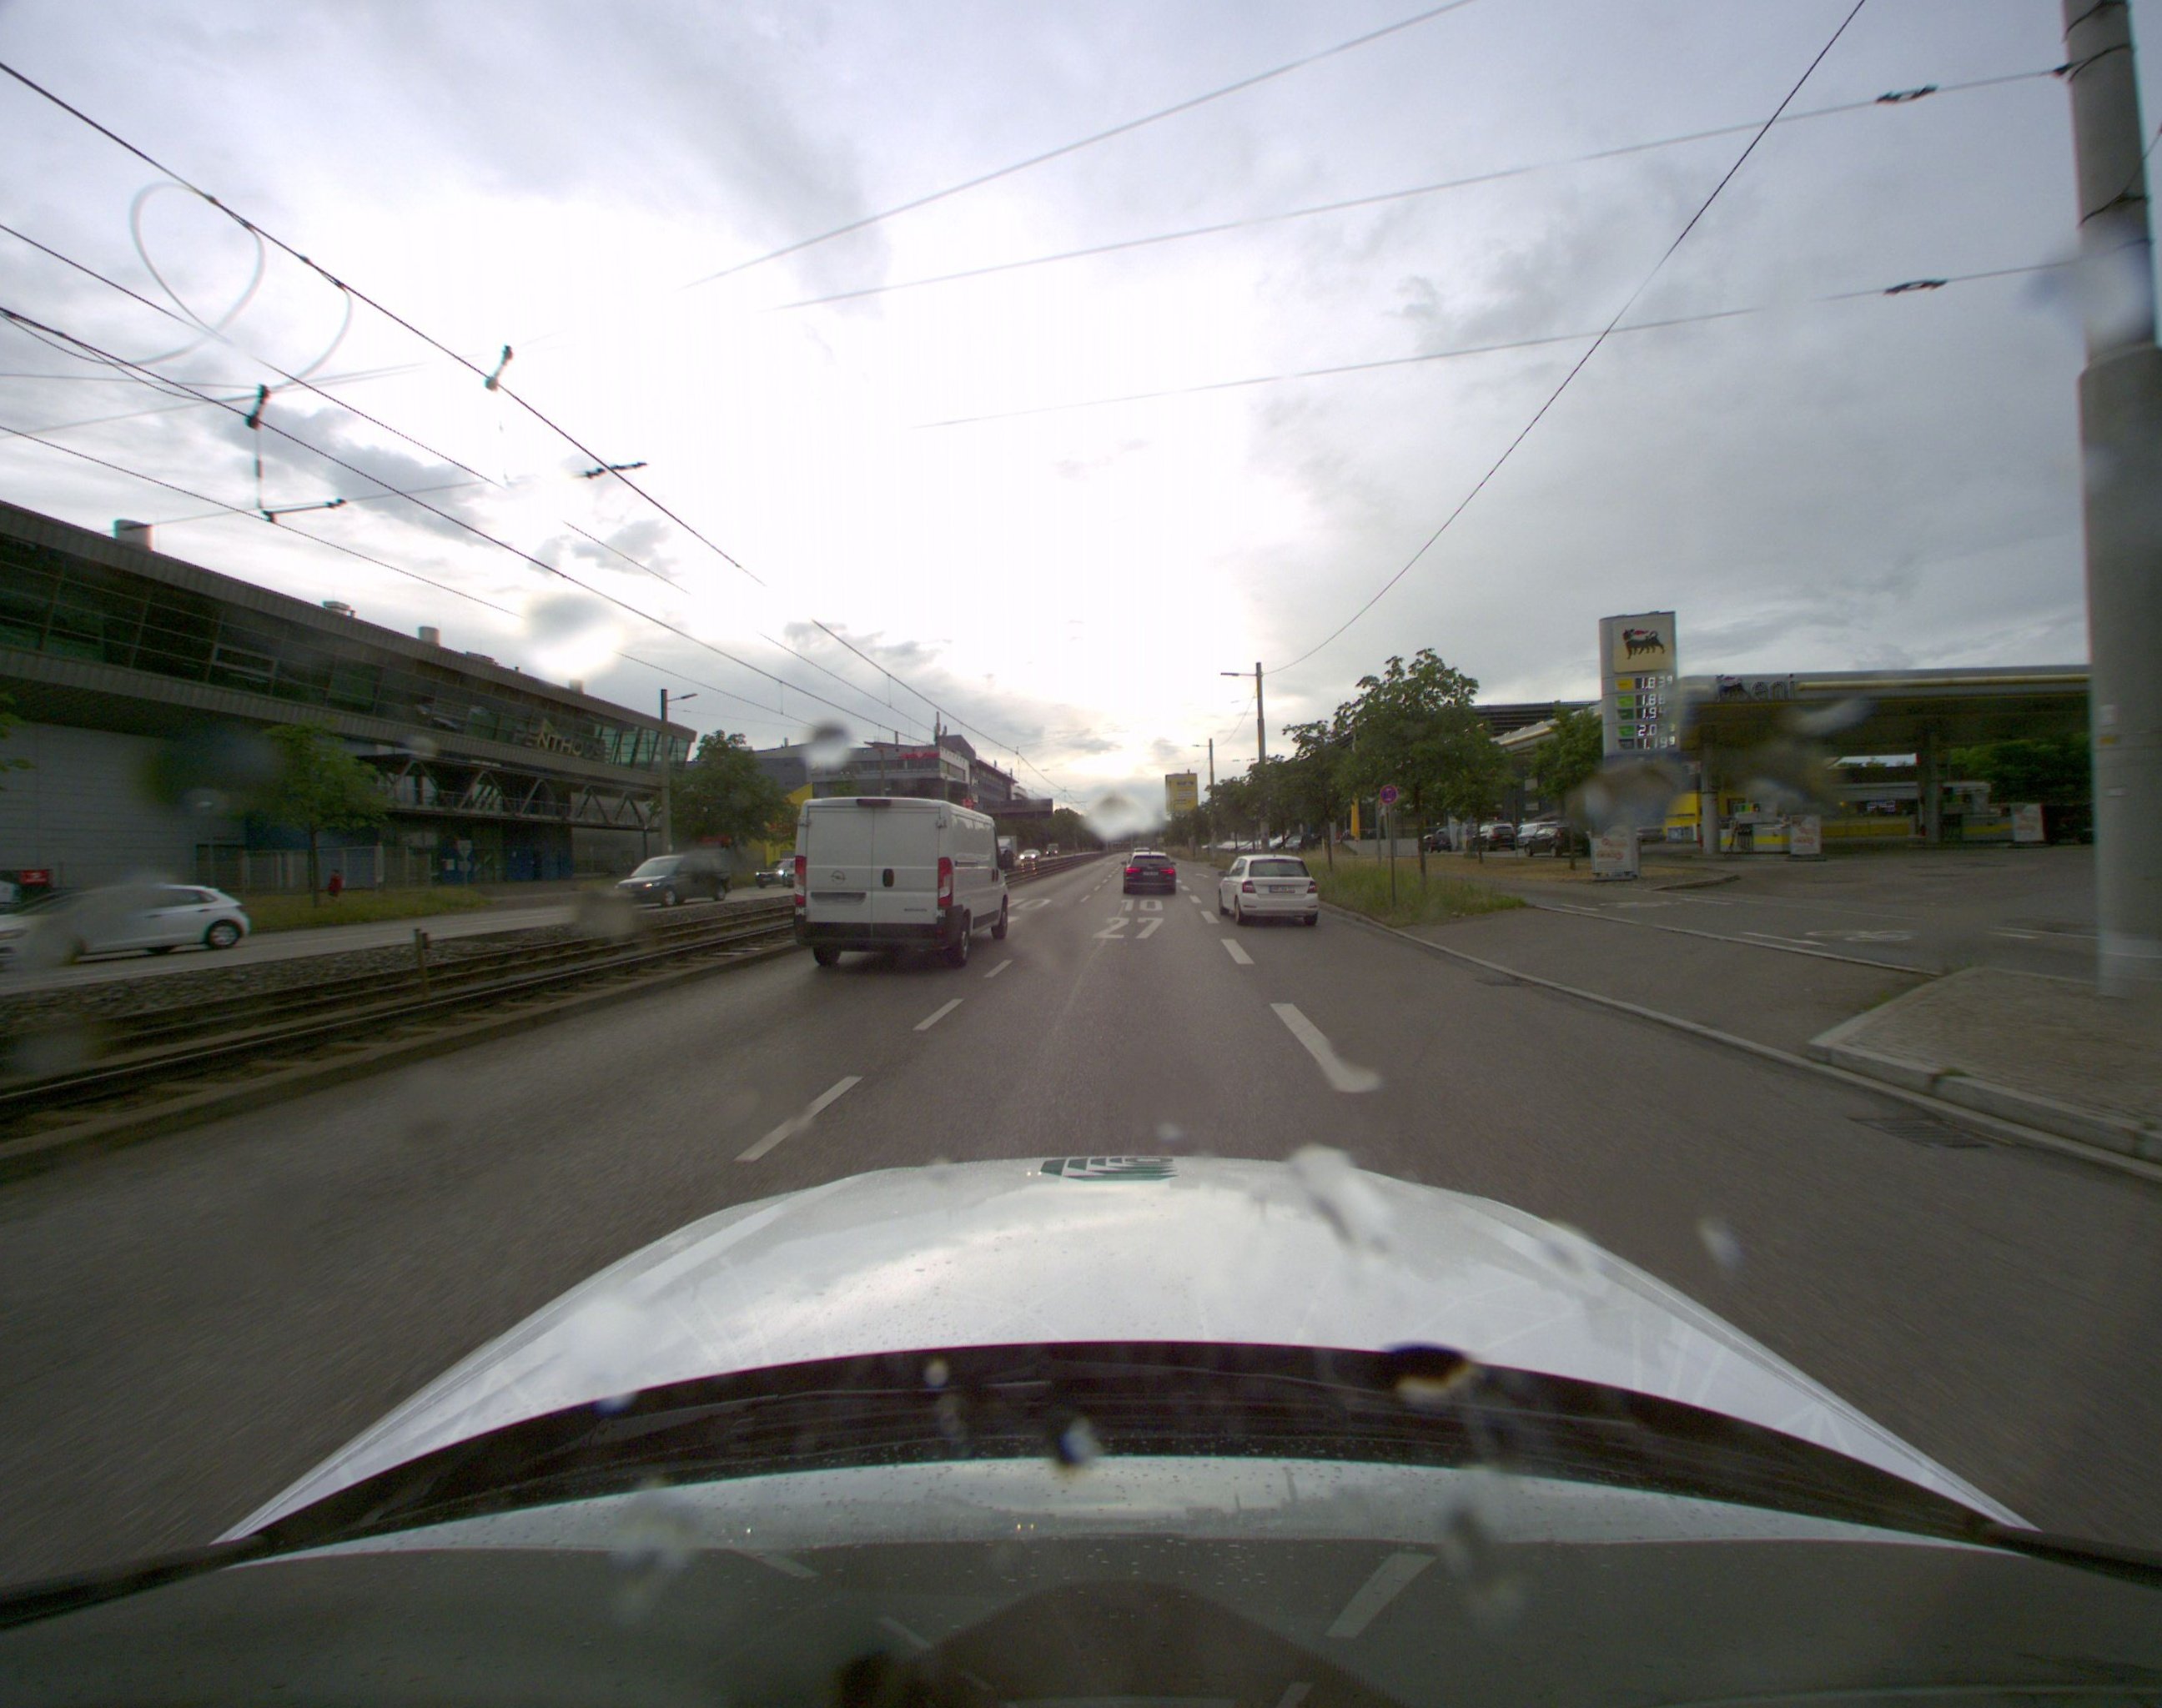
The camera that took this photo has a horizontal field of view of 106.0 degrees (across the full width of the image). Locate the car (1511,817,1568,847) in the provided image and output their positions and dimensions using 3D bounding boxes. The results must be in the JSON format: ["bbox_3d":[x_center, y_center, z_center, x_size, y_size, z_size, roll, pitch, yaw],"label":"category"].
[{"bbox_3d":[33.077,-1.545,58.889,1.985,2.013,4.004,-2,0,3],"label":"car"}]

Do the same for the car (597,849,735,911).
[{"bbox_3d":[-14.278,0.825,28.411,1.790,1.928,4.814,-2,0,8],"label":"car"}]

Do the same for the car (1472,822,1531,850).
[{"bbox_3d":[27.611,-1.162,53.667,1.985,1.728,4.004,-2,0,3],"label":"car"}]

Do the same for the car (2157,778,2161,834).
[{"bbox_3d":[41.729,-1.814,29.201,1.684,2.114,3.553,0,0,0],"label":"car"}]

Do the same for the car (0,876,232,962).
[{"bbox_3d":[-25.414,1.587,20.937,1.790,1.819,4.743,-2,0,8],"label":"car"}]

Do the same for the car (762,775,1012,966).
[{"bbox_3d":[-2.562,0.171,12.310,2.436,2.294,4.907,0,1,2],"label":"car"}]

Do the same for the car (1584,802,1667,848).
[{"bbox_3d":[24.879,-1.287,37.349,1.671,2.013,3.547,0,0,5],"label":"car"}]

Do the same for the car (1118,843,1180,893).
[{"bbox_3d":[2.435,0.466,28.616,1.983,1.637,4.007,0,0,6],"label":"car"}]

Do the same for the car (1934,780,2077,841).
[{"bbox_3d":[32.781,-1.480,29.010,1.667,2.013,3.141,0,0,4],"label":"car"}]

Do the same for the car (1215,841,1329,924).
[{"bbox_3d":[4.151,0.582,18.300,1.821,1.656,4.003,0,0,3],"label":"car"}]

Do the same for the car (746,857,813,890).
[{"bbox_3d":[-17.973,1.121,48.808,1.790,1.744,4.502,-2,0,8],"label":"car"}]

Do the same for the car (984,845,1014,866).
[{"bbox_3d":[-7.741,0.108,77.199,2.149,1.885,4.306,0,0,4],"label":"car"}]

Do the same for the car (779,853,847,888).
[{"bbox_3d":[-14.860,0.878,45.423,1.790,1.784,4.502,-2,0,8],"label":"car"}]

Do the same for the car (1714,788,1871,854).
[{"bbox_3d":[24.446,-1.065,28.205,1.985,2.032,4.004,-3,0,3],"label":"car"}]

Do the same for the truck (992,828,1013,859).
[{"bbox_3d":[-9.662,-1.227,100.443,2.153,3.645,6.869,0,0,-2],"label":"truck"}]

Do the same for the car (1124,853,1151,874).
[{"bbox_3d":[4.267,0.714,61.373,1.885,1.465,3.914,-1,0,4],"label":"car"}]

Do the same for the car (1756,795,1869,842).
[{"bbox_3d":[33.759,-1.586,37.735,1.864,2.013,3.774,0,0,0],"label":"car"}]

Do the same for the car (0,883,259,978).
[{"bbox_3d":[-19.459,1.434,16.375,1.556,1.510,3.997,-2,0,6],"label":"car"}]

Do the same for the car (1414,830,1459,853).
[{"bbox_3d":[26.557,-0.907,60.972,1.784,1.591,4.004,-2,0,3],"label":"car"}]

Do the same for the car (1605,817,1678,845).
[{"bbox_3d":[35.073,-1.409,51.133,1.985,1.596,4.004,-2,0,3],"label":"car"}]
